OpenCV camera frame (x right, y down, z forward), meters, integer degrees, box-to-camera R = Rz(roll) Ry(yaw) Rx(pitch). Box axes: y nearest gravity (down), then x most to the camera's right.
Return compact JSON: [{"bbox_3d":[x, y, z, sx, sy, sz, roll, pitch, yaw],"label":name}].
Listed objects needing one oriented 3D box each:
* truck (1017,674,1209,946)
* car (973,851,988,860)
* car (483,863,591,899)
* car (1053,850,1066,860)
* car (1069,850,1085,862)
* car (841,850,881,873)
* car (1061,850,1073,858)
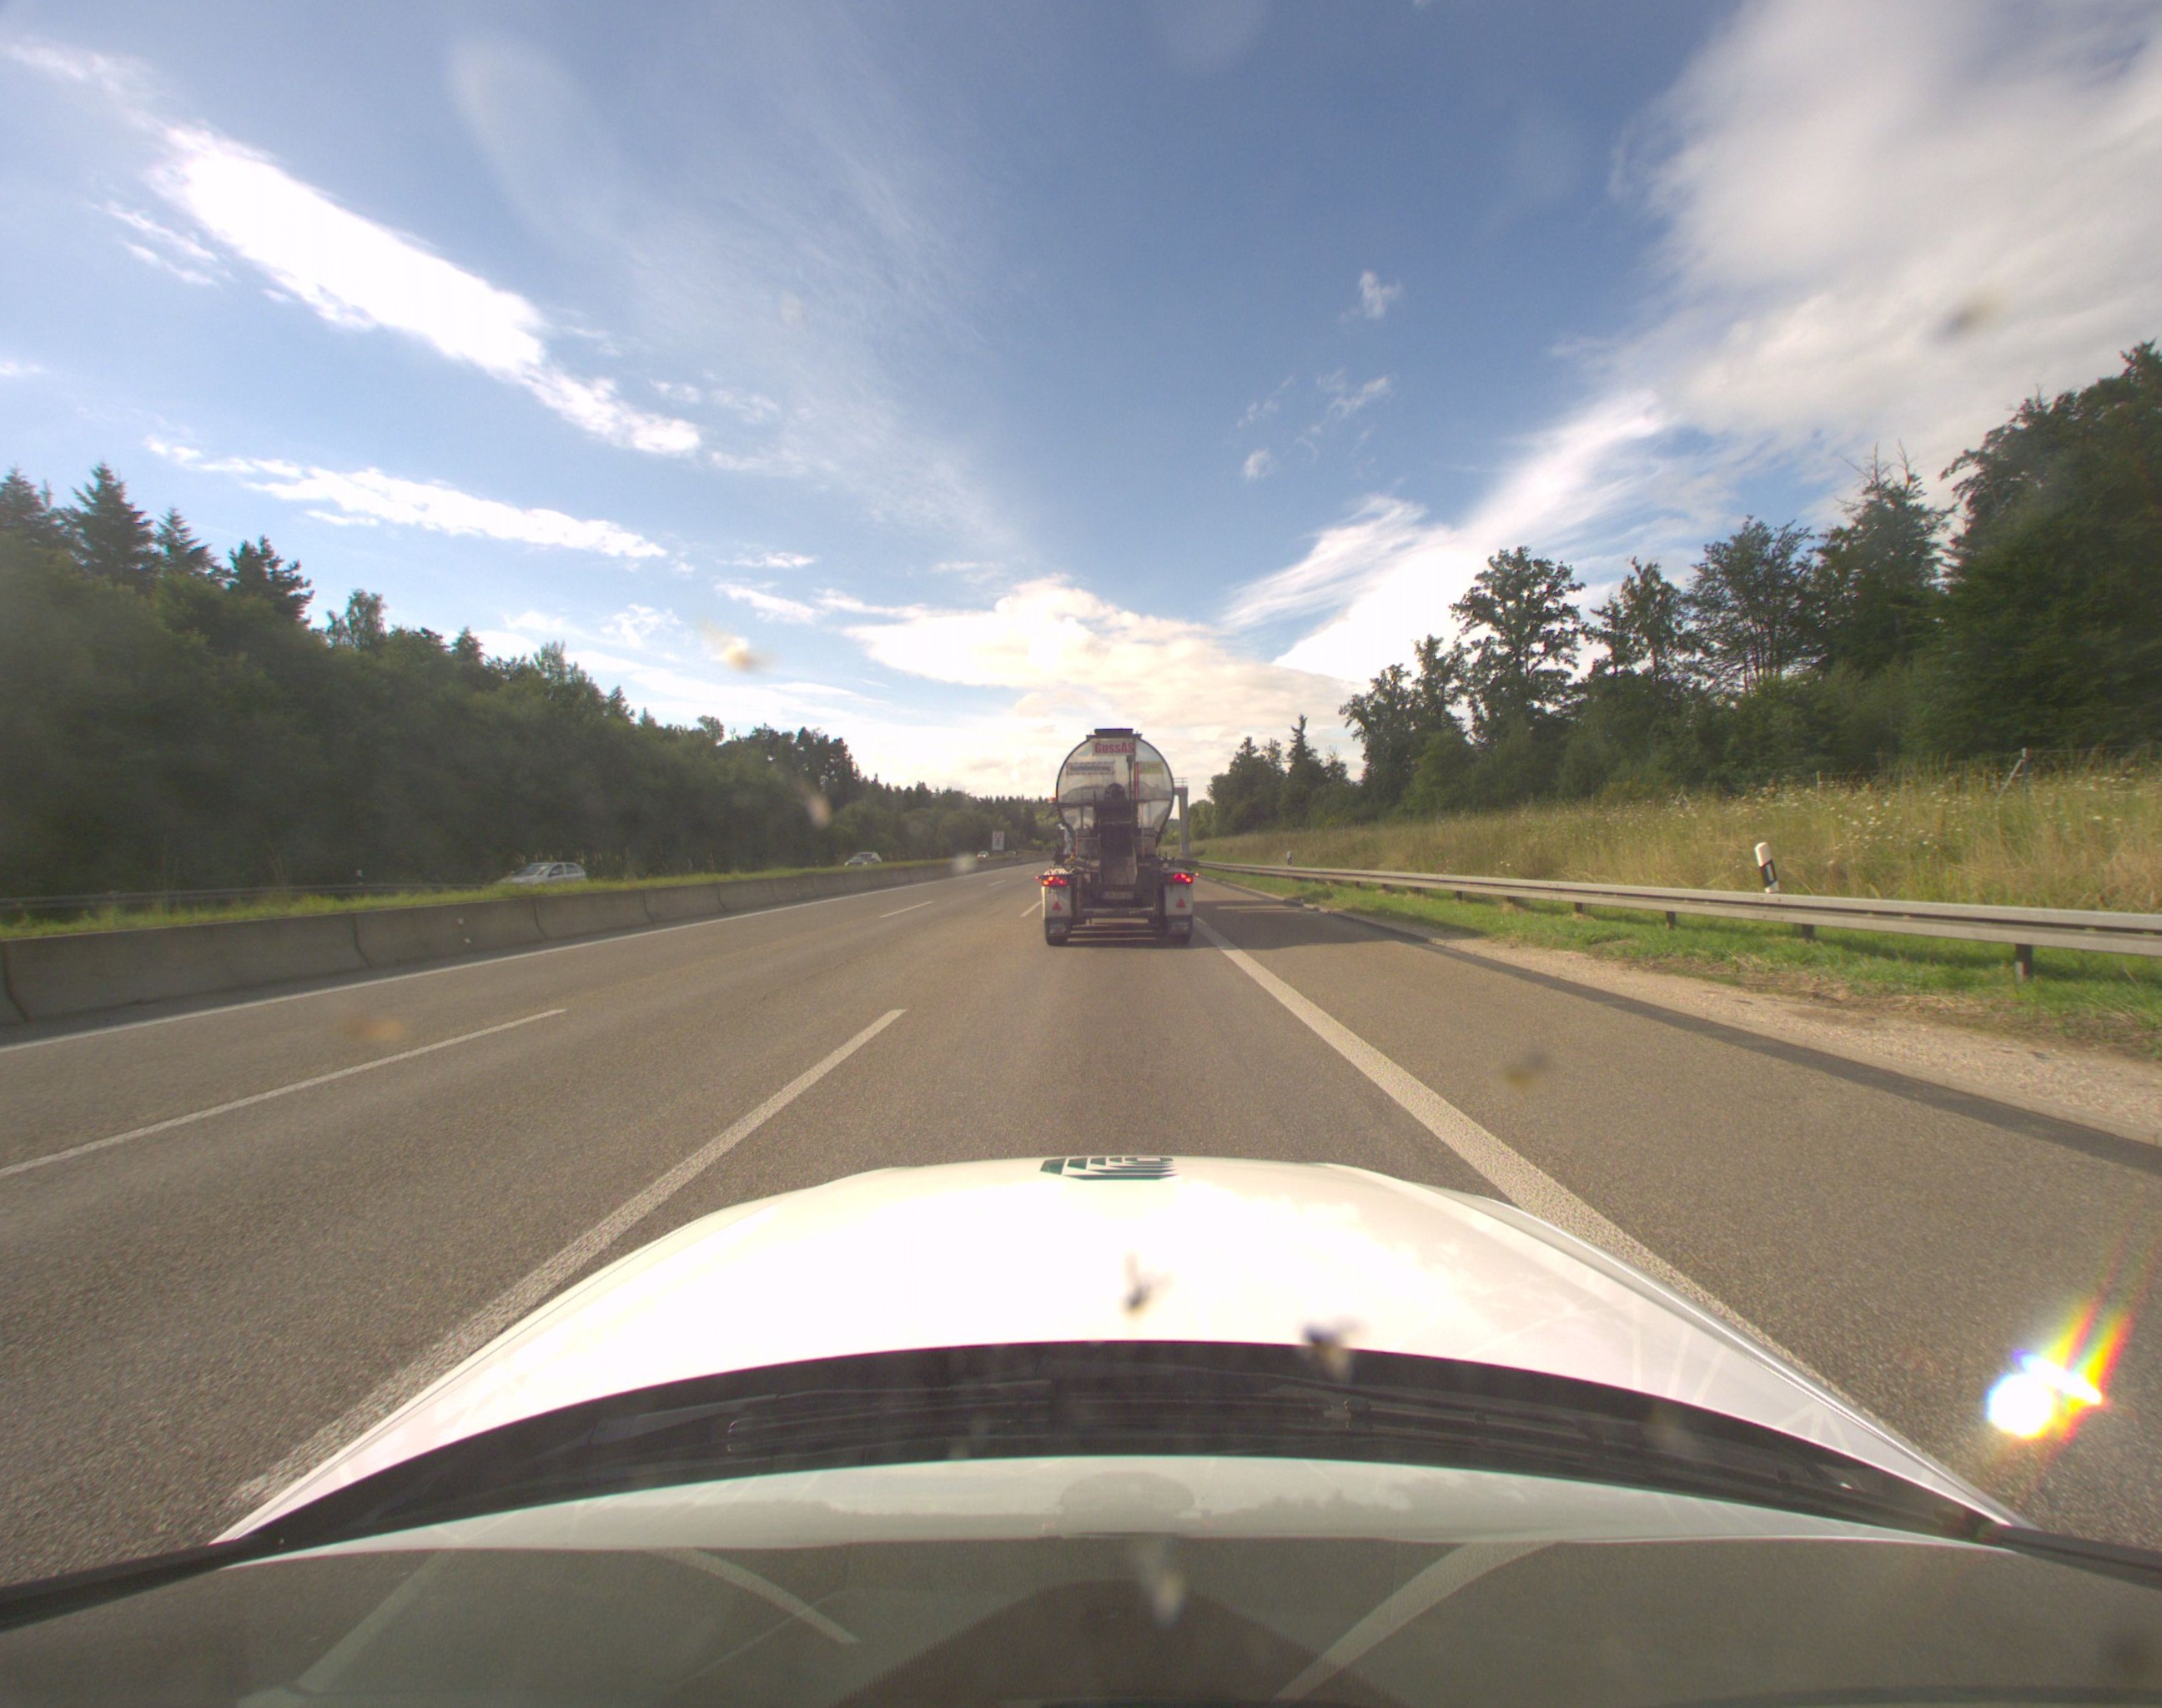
[{"bbox_3d":[0.691,-0.704,18.210,2.901,4.157,11.275,-1,0,2],"label":"truck"},{"bbox_3d":[-18.300,0.271,148.700,1.942,1.539,4.329,-1,0,2],"label":"car"},{"bbox_3d":[-21.523,1.036,32.419,1.809,1.290,3.546,-1,0,2],"label":"car"},{"bbox_3d":[-3.285,0.126,124.825,1.828,1.517,4.335,-1,0,2],"label":"car"},{"bbox_3d":[-0.503,0.264,104.037,1.828,1.517,4.335,-1,0,2],"label":"car"},{"bbox_3d":[-16.939,0.545,62.865,1.899,1.717,4.002,-1,0,2],"label":"car"},{"bbox_3d":[-2.524,0.033,144.540,1.849,1.431,4.843,-1,0,2],"label":"car"}]
